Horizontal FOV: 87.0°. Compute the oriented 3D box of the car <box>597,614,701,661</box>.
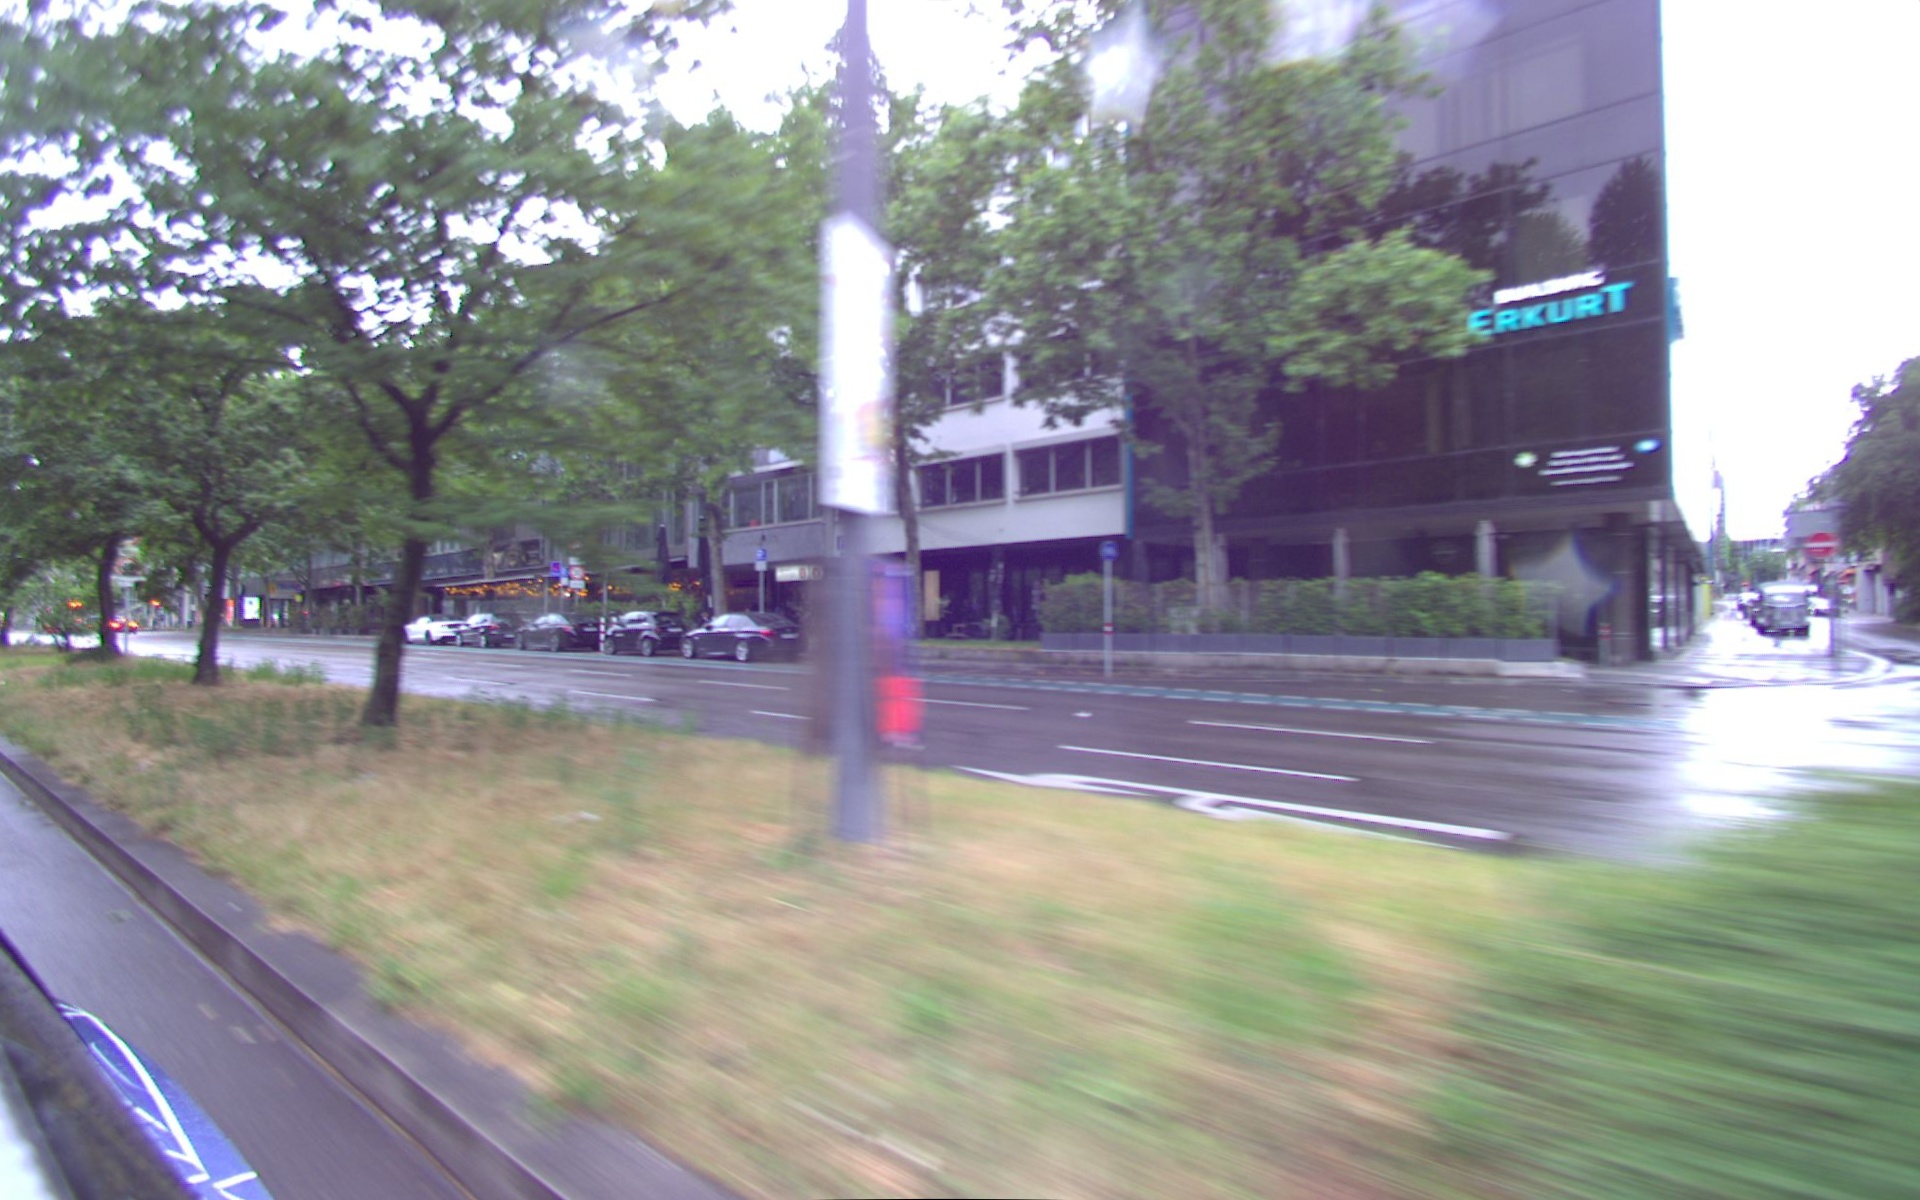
[{"bbox_3d":[-10.490,1.211,34.072,3.399,1.433,1.851,0,1,41],"label":"car"}]

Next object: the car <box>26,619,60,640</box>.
[{"bbox_3d":[-84.956,2.684,93.756,3.953,1.799,1.913,0,1,42],"label":"car"}]

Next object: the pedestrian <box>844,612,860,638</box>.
[{"bbox_3d":[-4.133,0.946,38.740,0.451,0.970,0.454,0,1,25],"label":"pedestrian"}]

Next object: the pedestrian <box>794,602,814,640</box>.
[{"bbox_3d":[-6.924,0.908,44.830,0.623,1.660,0.599,0,1,37],"label":"pedestrian"}]

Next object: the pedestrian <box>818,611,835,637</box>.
[{"bbox_3d":[-5.188,0.933,39.301,0.461,1.000,0.455,0,1,25],"label":"pedestrian"}]

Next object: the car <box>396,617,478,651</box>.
[{"bbox_3d":[-23.754,1.506,45.915,4.391,1.336,1.856,0,1,42],"label":"car"}]

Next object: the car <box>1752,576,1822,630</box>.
[{"bbox_3d":[38.634,0.086,47.434,2.247,2.341,6.680,0,1,37],"label":"car"}]

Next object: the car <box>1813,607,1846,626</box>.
[{"bbox_3d":[74.775,1.366,87.072,1.997,1.519,3.949,0,1,38],"label":"car"}]

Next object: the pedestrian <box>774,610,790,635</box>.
[{"bbox_3d":[-7.239,0.919,41.202,0.423,1.024,0.459,0,1,38],"label":"pedestrian"}]

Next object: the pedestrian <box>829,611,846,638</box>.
[{"bbox_3d":[-4.721,0.936,38.985,0.488,1.008,0.481,0,1,25],"label":"pedestrian"}]

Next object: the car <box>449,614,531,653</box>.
[{"bbox_3d":[-19.600,1.353,42.137,3.787,1.464,1.727,0,1,42],"label":"car"}]

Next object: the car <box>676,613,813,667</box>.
[{"bbox_3d":[-6.566,1.149,30.522,4.538,1.396,1.850,0,1,44],"label":"car"}]

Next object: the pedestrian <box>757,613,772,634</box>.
[{"bbox_3d":[-8.172,0.997,42.216,0.433,0.856,0.435,0,1,38],"label":"pedestrian"}]

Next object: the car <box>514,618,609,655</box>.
[{"bbox_3d":[-15.034,1.337,38.084,4.318,1.249,1.626,0,1,43],"label":"car"}]

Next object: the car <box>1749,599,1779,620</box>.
[{"bbox_3d":[46.922,0.545,59.093,1.253,1.141,2.586,0,1,36],"label":"car"}]
